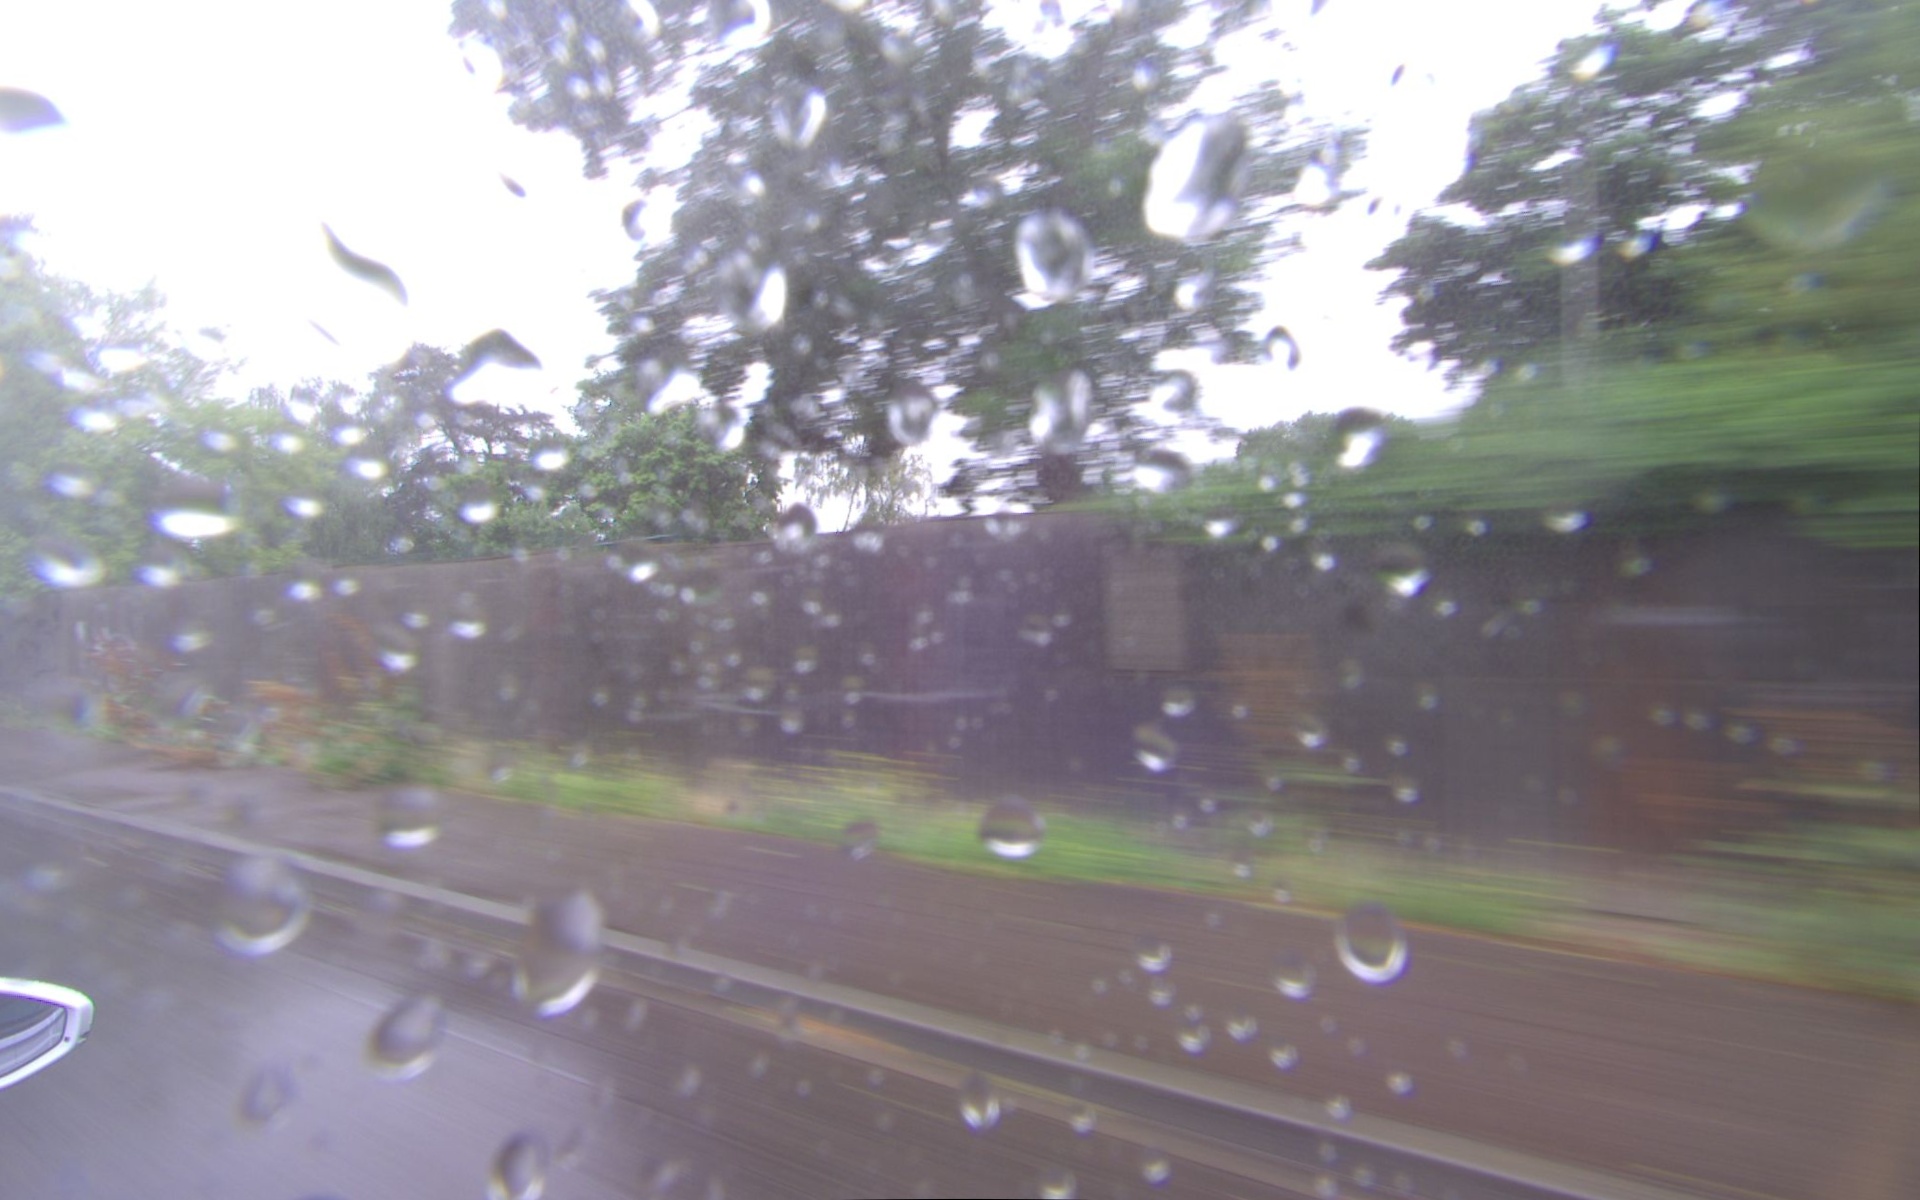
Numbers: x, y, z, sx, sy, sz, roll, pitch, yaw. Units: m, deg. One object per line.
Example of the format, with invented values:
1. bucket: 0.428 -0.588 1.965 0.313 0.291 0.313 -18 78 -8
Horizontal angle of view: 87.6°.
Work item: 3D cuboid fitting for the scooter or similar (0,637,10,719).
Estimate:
1. scooter or similar: -15.421 1.217 15.716 1.352 1.251 0.490 -2 -1 35
